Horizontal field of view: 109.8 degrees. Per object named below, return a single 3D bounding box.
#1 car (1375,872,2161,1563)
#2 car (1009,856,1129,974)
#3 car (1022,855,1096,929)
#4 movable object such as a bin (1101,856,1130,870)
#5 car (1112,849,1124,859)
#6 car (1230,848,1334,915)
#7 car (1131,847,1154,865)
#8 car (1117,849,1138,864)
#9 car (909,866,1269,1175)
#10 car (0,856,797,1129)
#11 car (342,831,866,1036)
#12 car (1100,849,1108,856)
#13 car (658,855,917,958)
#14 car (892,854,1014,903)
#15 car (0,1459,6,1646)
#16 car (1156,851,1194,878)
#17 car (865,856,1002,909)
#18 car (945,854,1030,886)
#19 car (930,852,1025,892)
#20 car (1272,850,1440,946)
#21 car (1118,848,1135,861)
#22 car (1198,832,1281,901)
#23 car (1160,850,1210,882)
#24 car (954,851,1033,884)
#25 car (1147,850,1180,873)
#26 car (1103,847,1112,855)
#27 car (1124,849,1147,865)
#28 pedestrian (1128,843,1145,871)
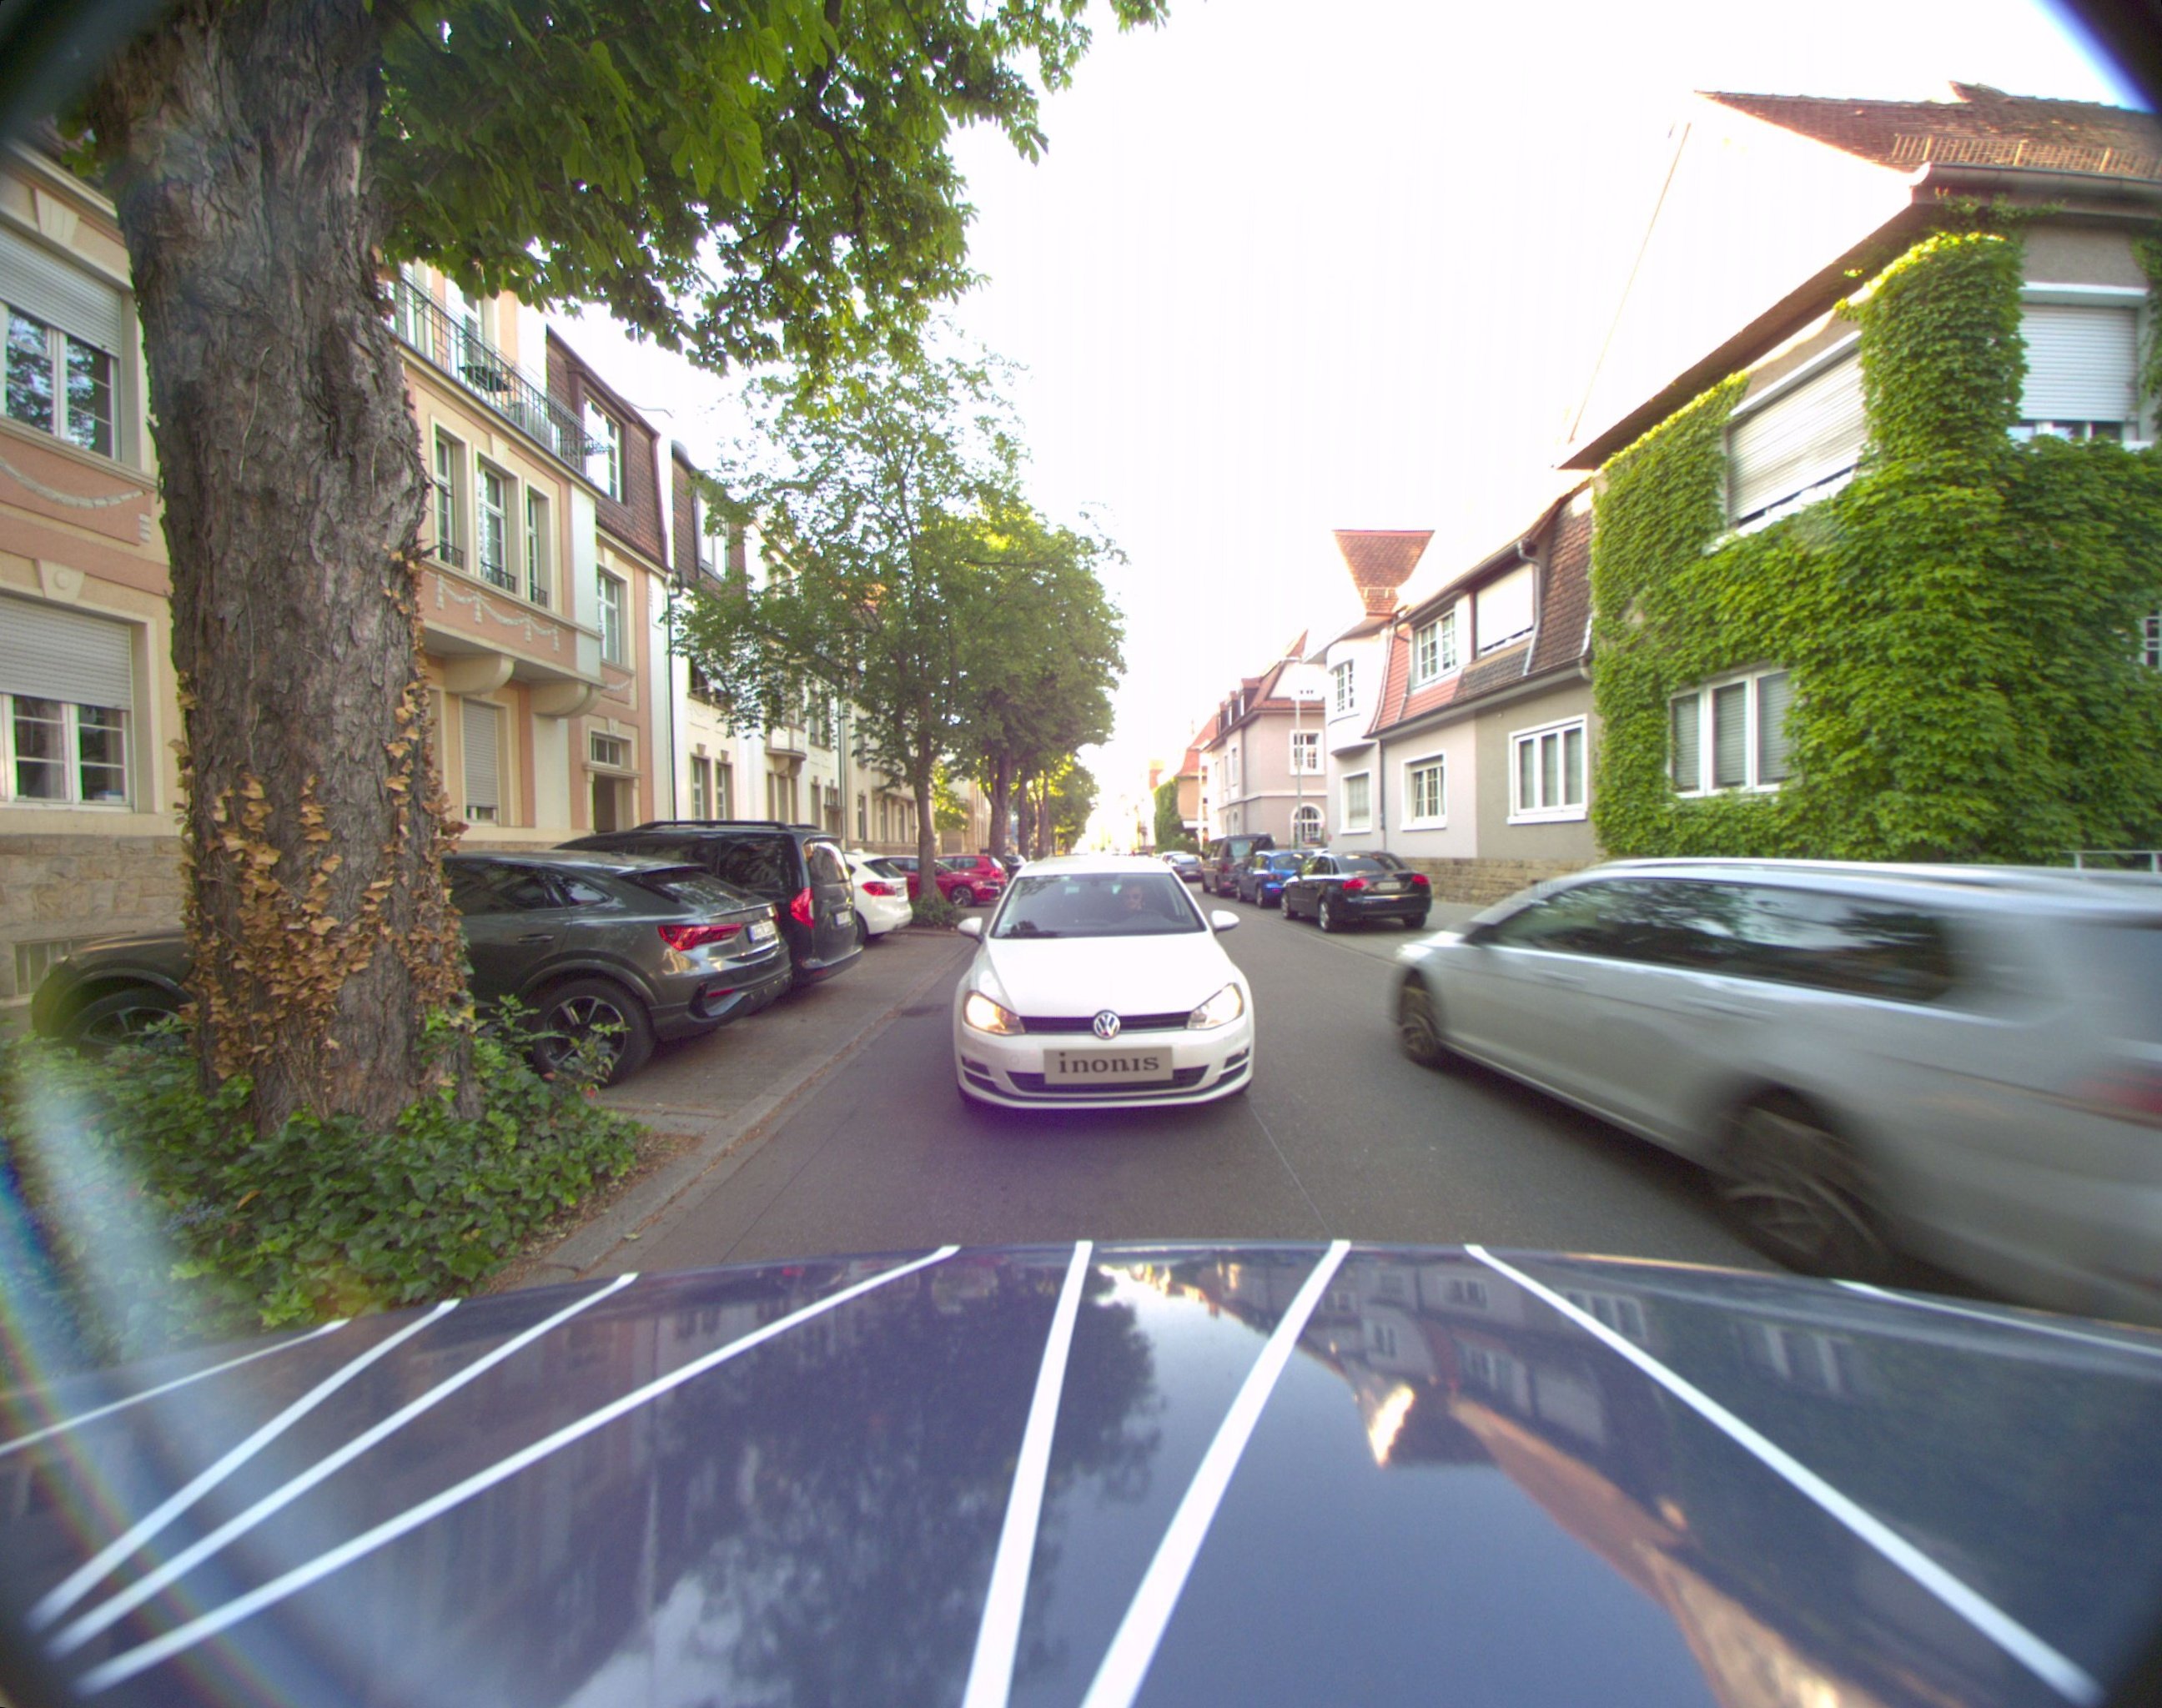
[{"bbox_3d":[3.226,0.881,3.592,1.786,1.453,4.298,1,0,-3],"label":"car"},{"bbox_3d":[-0.140,0.836,12.290,1.600,1.546,4.000,1,0,1],"label":"car"},{"bbox_3d":[-0.448,0.827,18.154,1.560,1.546,3.738,1,0,1],"label":"car"},{"bbox_3d":[2.481,0.653,54.784,1.944,0.943,1.432,1,0,-4],"label":"movable object such as a bin"},{"bbox_3d":[5.666,-0.059,115.899,1.643,1.461,3.689,-3,0,0],"label":"car"},{"bbox_3d":[5.225,0.647,20.298,1.611,1.455,4.023,-4,1,0],"label":"car"},{"bbox_3d":[5.490,0.139,68.247,1.643,1.461,3.945,-3,0,0],"label":"car"},{"bbox_3d":[4.924,0.238,80.800,1.643,1.461,3.688,-3,0,-4],"label":"car"},{"bbox_3d":[0.006,0.887,5.916,1.799,1.420,4.023,-2,0,-1],"label":"car"},{"bbox_3d":[-4.403,0.843,5.408,4.173,1.583,1.594,1,1,-4],"label":"car"},{"bbox_3d":[-4.466,0.709,7.639,4.173,1.816,1.594,1,1,-4],"label":"car"},{"bbox_3d":[5.161,-0.437,173.337,1.643,1.461,3.689,-3,0,0],"label":"car"},{"bbox_3d":[-4.623,0.816,12.360,3.623,1.541,1.537,1,1,-4],"label":"car"},{"bbox_3d":[-4.046,0.763,24.337,3.622,1.456,1.537,1,1,0],"label":"car"},{"bbox_3d":[-4.668,0.792,0.512,4.835,1.814,1.880,1,1,-4],"label":"car"},{"bbox_3d":[5.151,0.538,42.116,1.541,1.363,3.945,-3,0,0],"label":"car"},{"bbox_3d":[-4.158,0.794,21.786,3.622,1.395,1.537,1,1,0],"label":"car"},{"bbox_3d":[-4.141,0.721,34.127,3.622,1.395,1.537,0,1,0],"label":"car"},{"bbox_3d":[-4.174,0.708,30.942,3.622,1.555,1.537,0,1,0],"label":"car"},{"bbox_3d":[5.035,0.714,14.535,1.751,1.421,4.023,-4,1,1],"label":"car"},{"bbox_3d":[5.411,0.058,91.106,1.643,1.461,3.689,-3,0,-1],"label":"car"},{"bbox_3d":[5.136,0.339,25.200,1.719,1.961,4.310,-4,1,0],"label":"car"},{"bbox_3d":[4.979,0.553,36.881,1.719,1.363,4.334,-3,0,0],"label":"car"},{"bbox_3d":[-4.202,0.640,36.838,3.622,1.555,1.537,0,1,0],"label":"car"},{"bbox_3d":[5.444,0.461,50.630,1.719,1.363,3.945,-3,0,0],"label":"car"},{"bbox_3d":[5.241,-0.541,149.243,1.643,1.461,3.689,-3,0,0],"label":"car"},{"bbox_3d":[5.402,0.262,75.510,1.643,1.461,3.688,-3,0,-4],"label":"car"},{"bbox_3d":[3.994,0.209,55.040,1.188,2.002,0.931,1,1,4],"label":"pedestrian"}]
